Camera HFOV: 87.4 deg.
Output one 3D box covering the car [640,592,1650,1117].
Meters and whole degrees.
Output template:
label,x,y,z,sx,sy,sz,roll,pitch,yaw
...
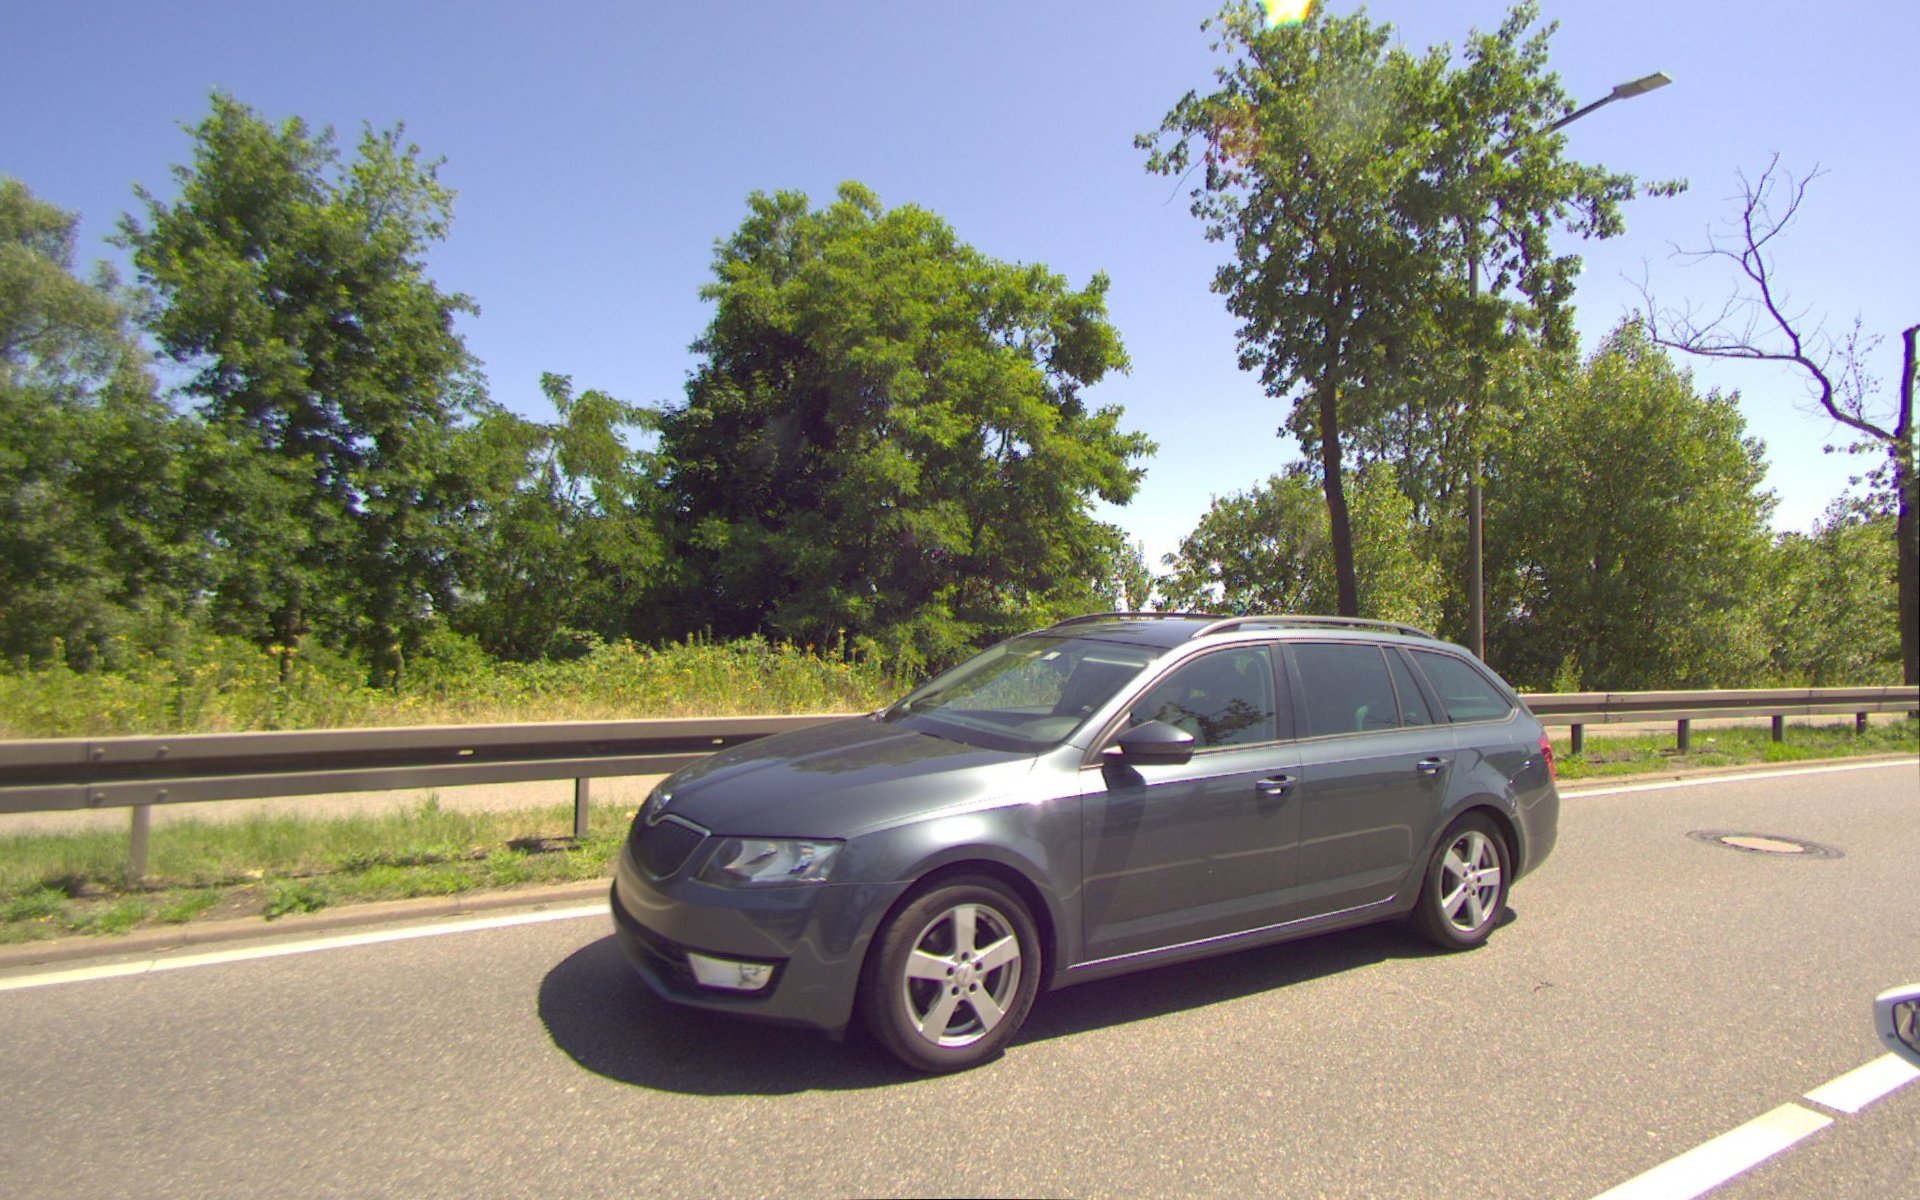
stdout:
label,x,y,z,sx,sy,sz,roll,pitch,yaw
car,0.984,0.768,4.626,4.459,1.466,1.738,2,-1,-28
